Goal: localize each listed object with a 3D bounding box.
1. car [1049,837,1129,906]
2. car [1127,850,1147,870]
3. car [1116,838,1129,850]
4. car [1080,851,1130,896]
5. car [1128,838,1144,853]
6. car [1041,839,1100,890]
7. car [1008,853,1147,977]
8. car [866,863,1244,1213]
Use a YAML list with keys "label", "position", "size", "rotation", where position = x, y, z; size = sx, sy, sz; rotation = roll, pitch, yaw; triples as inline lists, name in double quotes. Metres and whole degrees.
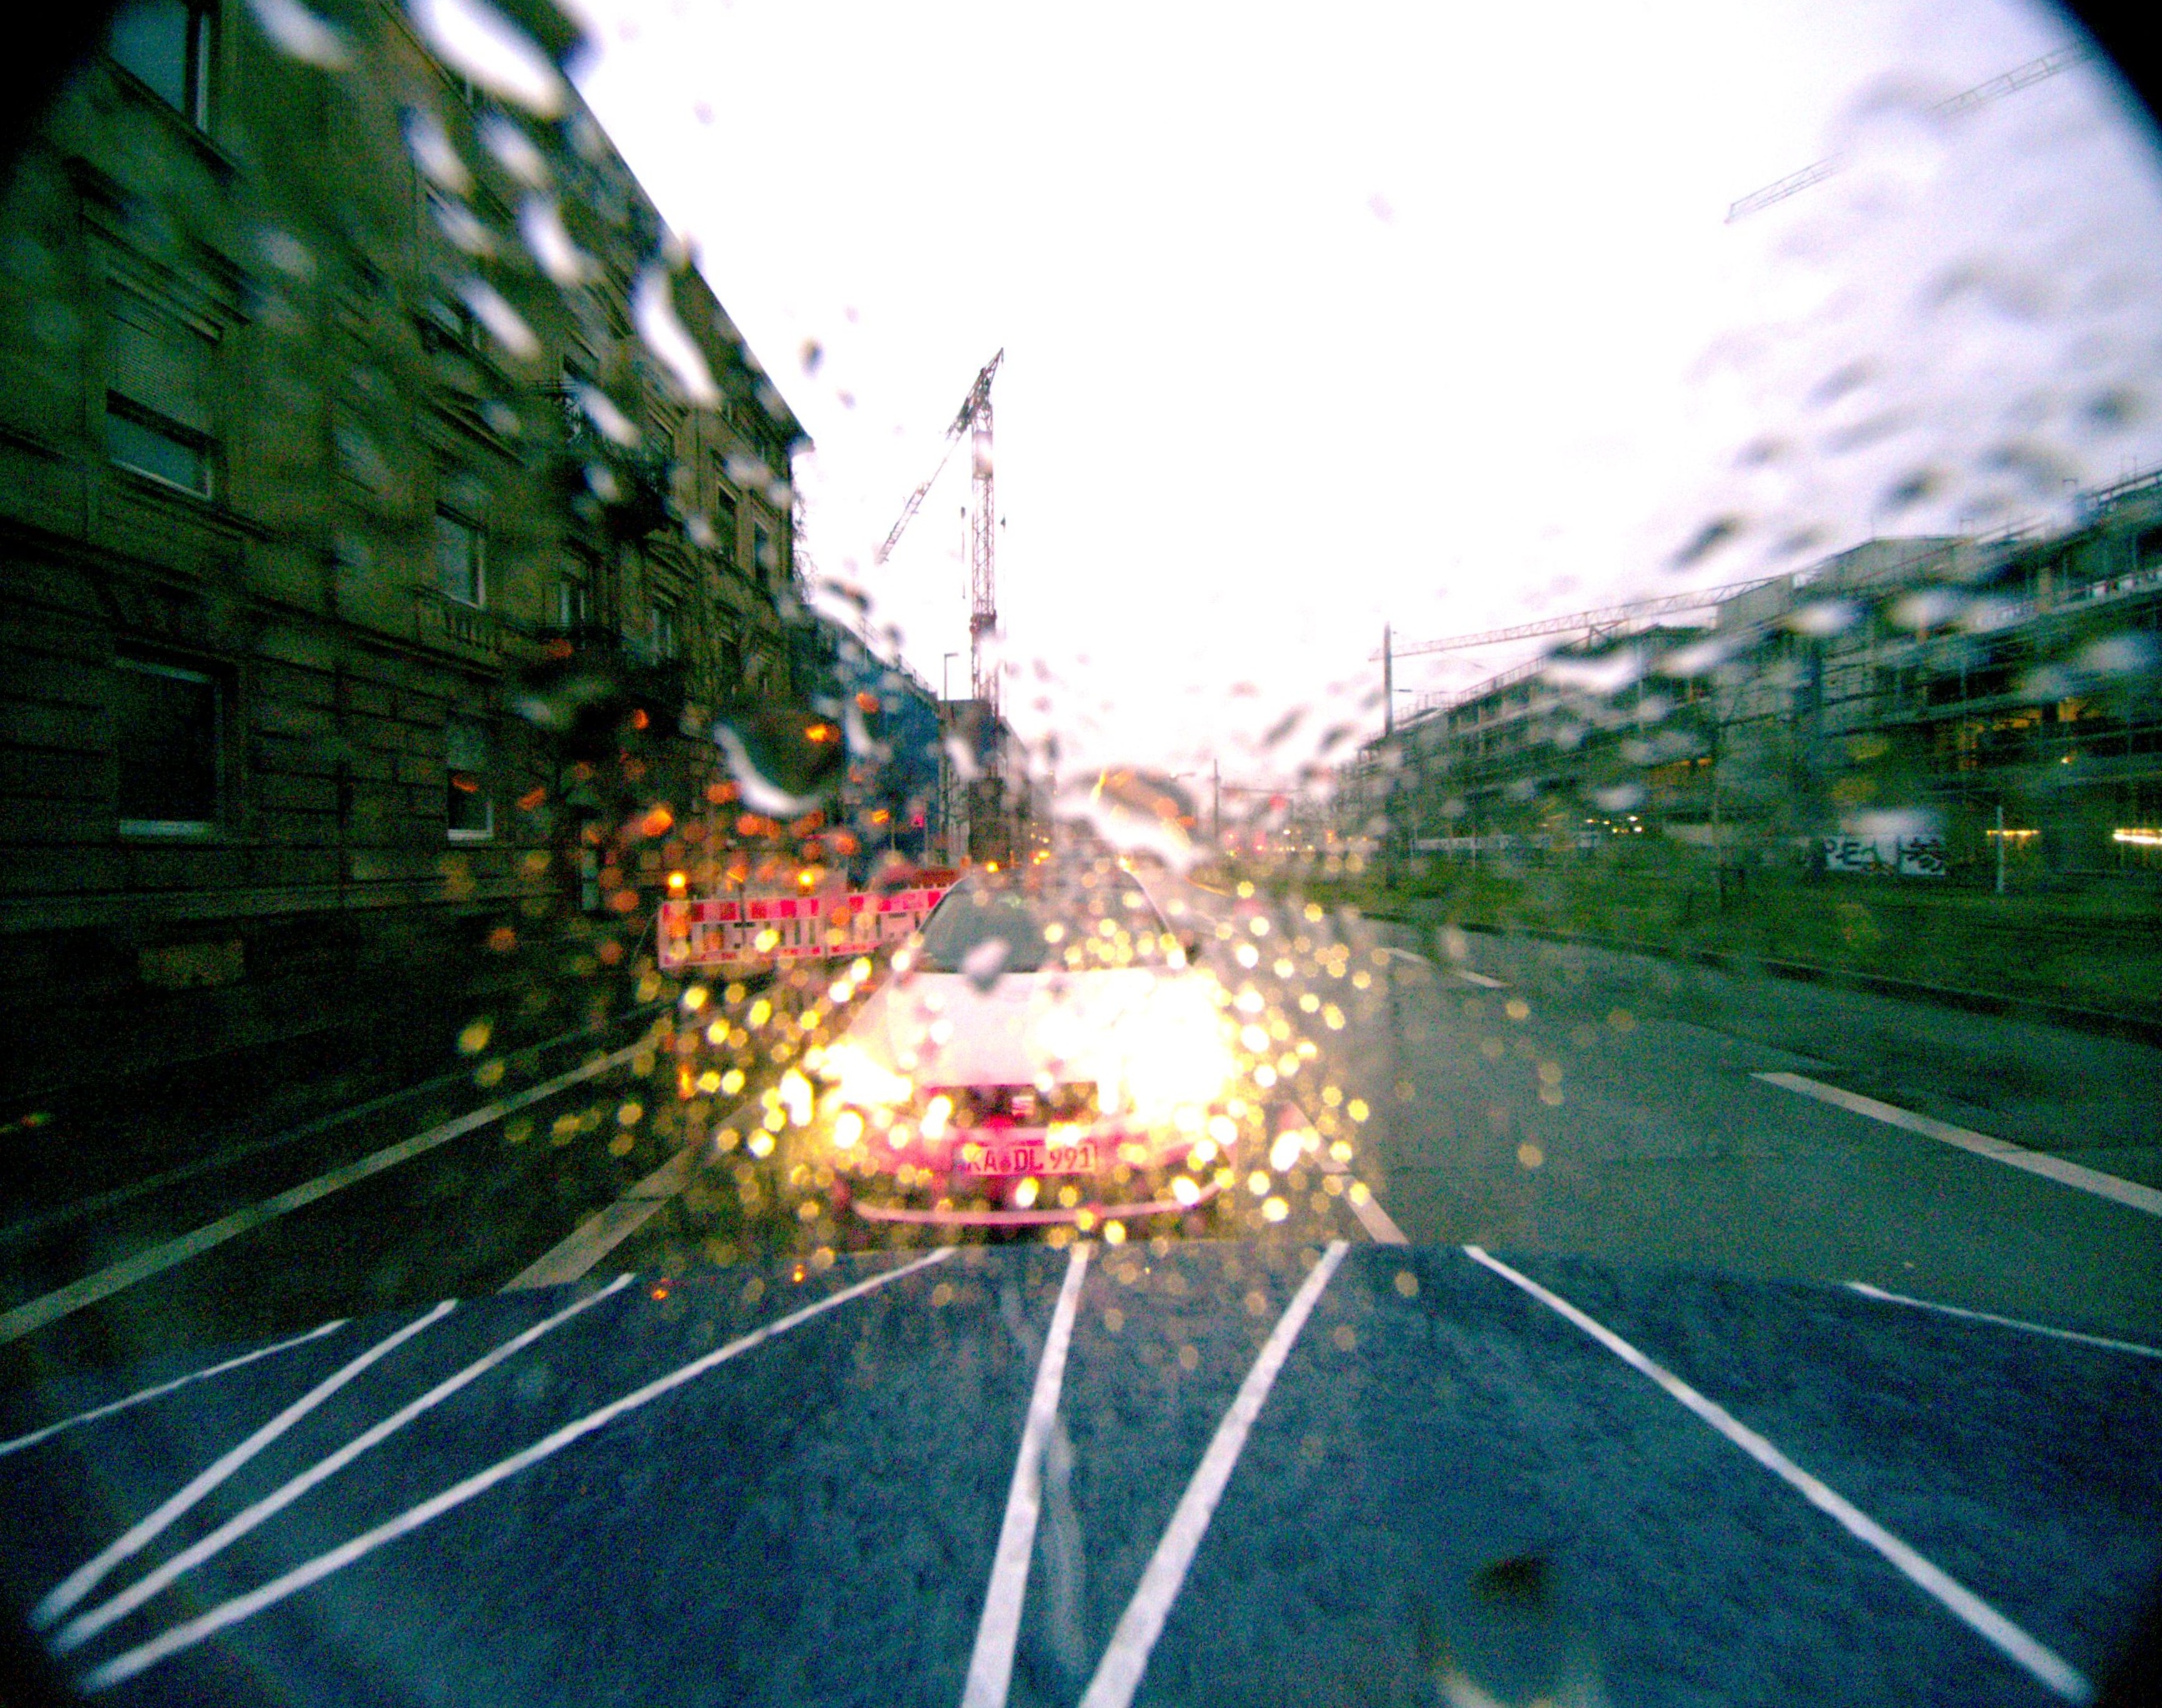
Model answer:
- label: "car"
  position: [0.174, 0.360, 19.333]
  size: [1.769, 1.504, 3.899]
  rotation: [-3, 1, 0]
- label: "car"
  position: [5.125, 0.501, 69.762]
  size: [1.768, 1.614, 3.900]
  rotation: [-3, 1, 4]
- label: "car"
  position: [5.905, -1.416, 107.057]
  size: [1.768, 1.614, 3.900]
  rotation: [-3, 1, 4]
- label: "car"
  position: [0.879, 0.723, 29.928]
  size: [1.769, 1.504, 3.899]
  rotation: [-3, 1, 0]
- label: "car"
  position: [6.303, -1.023, 87.365]
  size: [1.768, 1.614, 3.900]
  rotation: [-3, 1, 4]
- label: "car"
  position: [-0.321, 0.297, 25.566]
  size: [1.769, 1.504, 3.899]
  rotation: [-3, 1, 0]
- label: "car"
  position: [-0.054, 0.809, 12.034]
  size: [1.769, 1.504, 3.899]
  rotation: [-3, 1, 0]
- label: "car"
  position: [-0.128, 0.919, 5.642]
  size: [1.769, 1.504, 3.899]
  rotation: [-3, 1, 0]
